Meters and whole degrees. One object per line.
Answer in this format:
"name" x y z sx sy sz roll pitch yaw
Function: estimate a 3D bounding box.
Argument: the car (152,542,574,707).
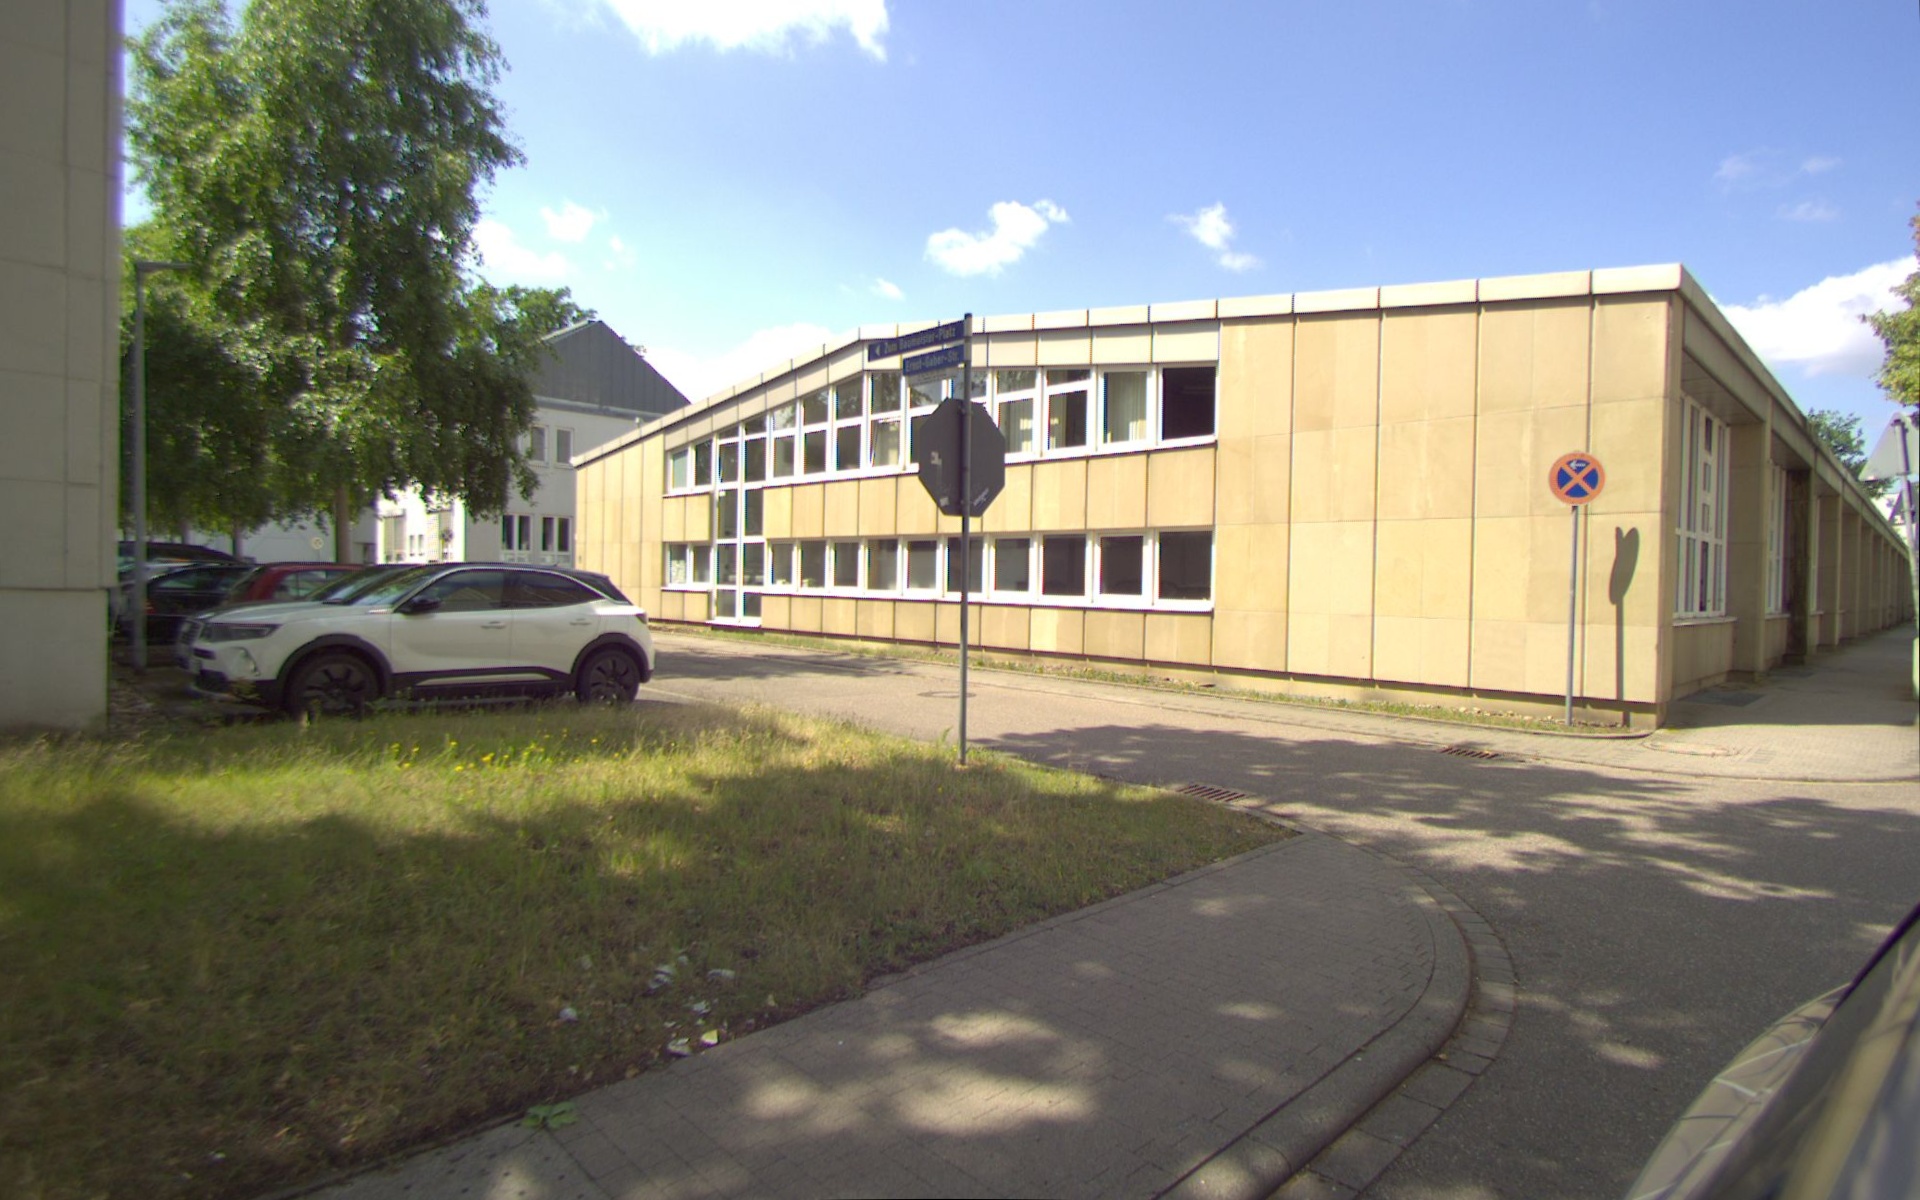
"car" -6.814 0.203 11.802 3.934 1.598 1.826 0 2 -45

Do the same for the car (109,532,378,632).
"car" -13.694 -0.299 19.473 3.933 1.659 1.826 3 -1 -45

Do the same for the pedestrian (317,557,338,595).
"pedestrian" -28.711 -1.079 45.913 0.716 1.679 0.831 1 1 -38

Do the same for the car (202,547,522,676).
"car" -8.299 0.110 14.267 1.624 1.572 3.571 2 1 41

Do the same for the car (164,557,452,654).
"car" -11.382 0.132 17.821 3.933 1.493 1.826 3 -1 -45

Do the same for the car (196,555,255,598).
"car" -38.408 -1.236 52.871 3.989 2.037 1.801 3 -1 45

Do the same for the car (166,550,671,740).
"car" -5.139 0.324 10.002 4.114 1.495 1.668 0 2 -45

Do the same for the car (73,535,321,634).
"car" -15.741 -0.318 20.968 3.933 1.851 1.996 0 1 -43
